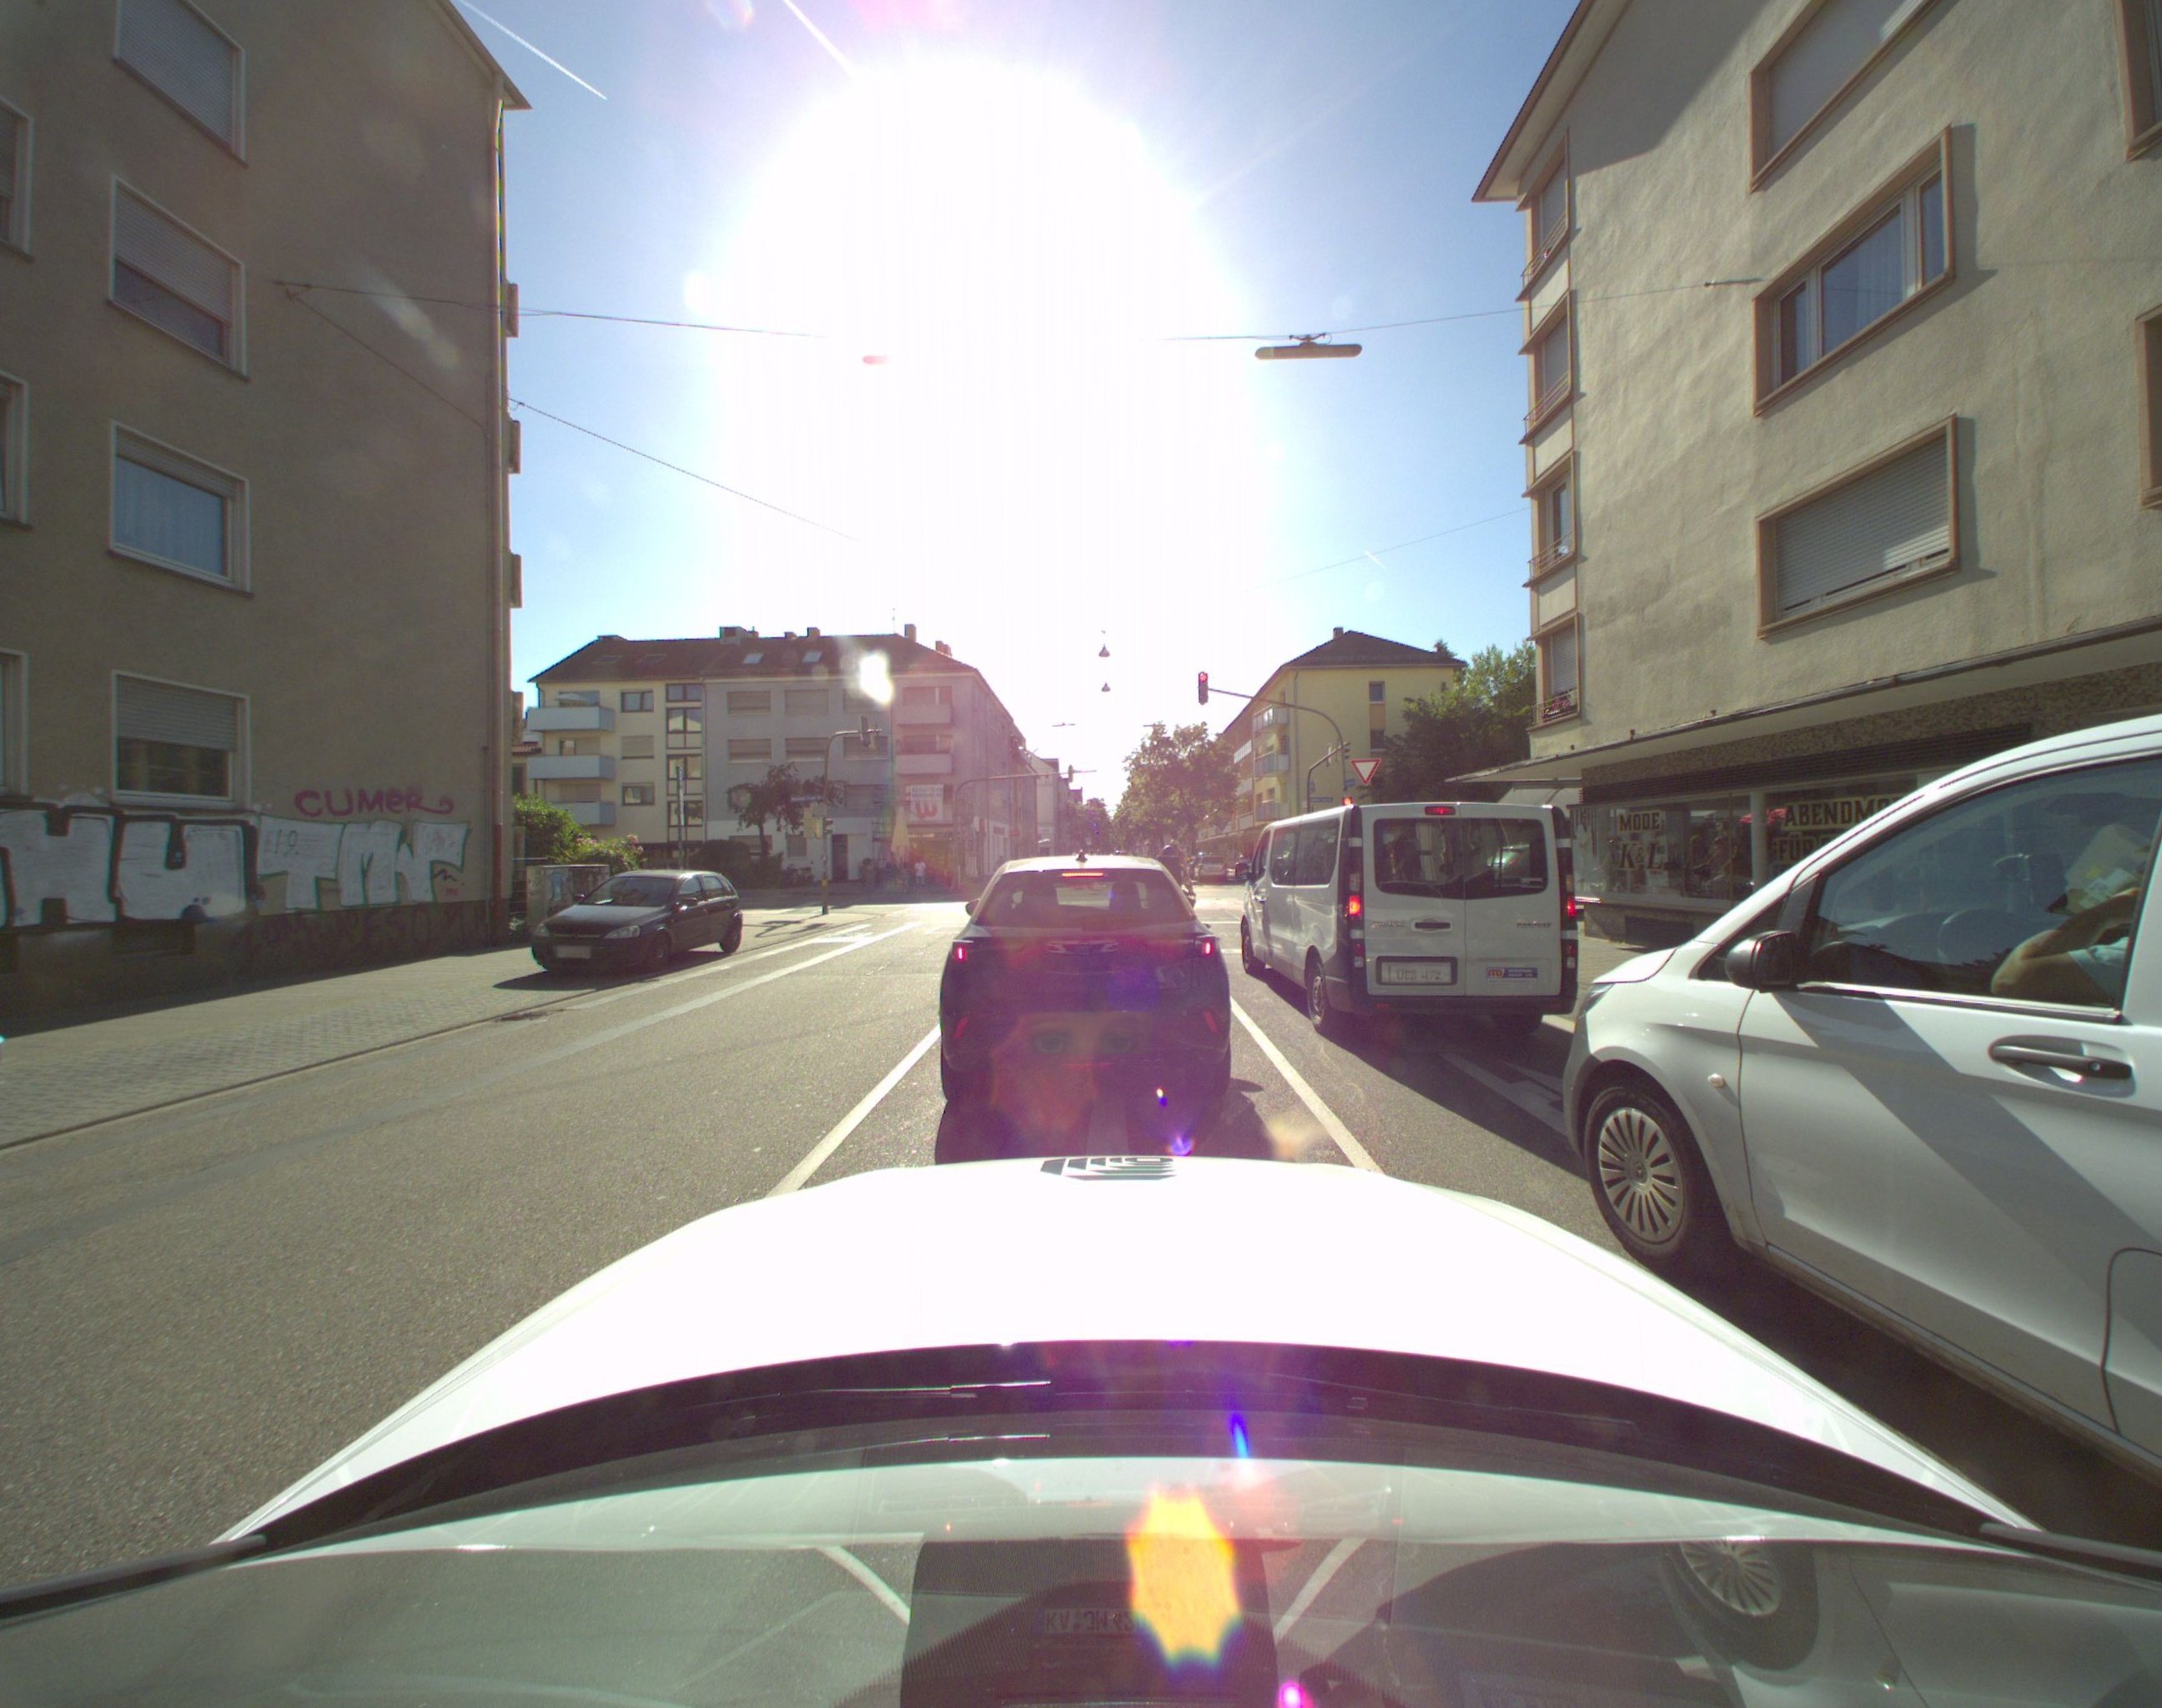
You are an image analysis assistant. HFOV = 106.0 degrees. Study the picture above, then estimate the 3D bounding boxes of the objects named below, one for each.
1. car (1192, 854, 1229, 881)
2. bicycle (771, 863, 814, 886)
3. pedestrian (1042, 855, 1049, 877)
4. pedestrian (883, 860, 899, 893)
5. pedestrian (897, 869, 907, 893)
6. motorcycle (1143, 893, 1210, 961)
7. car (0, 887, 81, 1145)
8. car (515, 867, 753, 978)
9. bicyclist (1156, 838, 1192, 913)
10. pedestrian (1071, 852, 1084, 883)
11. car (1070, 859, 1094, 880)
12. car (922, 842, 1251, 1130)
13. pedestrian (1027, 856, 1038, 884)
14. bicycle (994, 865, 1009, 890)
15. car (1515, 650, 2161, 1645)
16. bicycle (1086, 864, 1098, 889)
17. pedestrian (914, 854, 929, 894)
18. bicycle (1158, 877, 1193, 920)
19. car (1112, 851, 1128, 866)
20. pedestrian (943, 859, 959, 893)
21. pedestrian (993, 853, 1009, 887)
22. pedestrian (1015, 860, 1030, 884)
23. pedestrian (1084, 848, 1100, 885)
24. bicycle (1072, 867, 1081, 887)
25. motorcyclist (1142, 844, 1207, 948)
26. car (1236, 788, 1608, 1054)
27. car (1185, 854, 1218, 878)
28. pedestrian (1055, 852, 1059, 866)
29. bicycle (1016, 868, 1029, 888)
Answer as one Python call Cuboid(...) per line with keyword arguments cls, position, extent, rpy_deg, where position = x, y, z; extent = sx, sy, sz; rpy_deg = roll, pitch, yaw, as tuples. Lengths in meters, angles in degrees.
Cuboid(cls="car", position=(7.446, 0.757, 47.219), extent=(1.628, 1.433, 3.958), rpy_deg=(-1, 0, 2))
Cuboid(cls="bicycle", position=(-15.325, 1.083, 43.245), extent=(2.103, 1.172, 0.735), rpy_deg=(-1, 0, -22))
Cuboid(cls="pedestrian", position=(-2.801, 0.906, 63.671), extent=(0.486, 1.690, 0.588), rpy_deg=(-1, 0, 1))
Cuboid(cls="pedestrian", position=(-8.792, 1.027, 37.729), extent=(0.582, 1.521, 0.649), rpy_deg=(-1, 0, -1))
Cuboid(cls="pedestrian", position=(-8.305, 1.260, 37.781), extent=(0.354, 1.092, 0.461), rpy_deg=(-1, 0, -1))
Cuboid(cls="motorcycle", position=(1.399, 1.067, 12.279), extent=(0.822, 0.845, 1.885), rpy_deg=(-1, 0, 1))
Cuboid(cls="car", position=(-7.127, 0.927, 2.637), extent=(1.711, 1.465, 4.817), rpy_deg=(1, 0, 2))
Cuboid(cls="car", position=(-6.774, 0.957, 12.840), extent=(1.610, 1.425, 3.711), rpy_deg=(0, 0, 1))
Cuboid(cls="bicyclist", position=(2.213, 0.496, 19.539), extent=(0.687, 1.712, 1.414), rpy_deg=(-1, 0, 0))
Cuboid(cls="pedestrian", position=(-0.186, 0.712, 42.554), extent=(0.678, 1.606, 0.762), rpy_deg=(-1, 0, 0))
Cuboid(cls="car", position=(0.083, 1.341, 71.426), extent=(1.817, 1.728, 4.004), rpy_deg=(-1, 0, 3))
Cuboid(cls="car", position=(0.036, 0.716, 6.429), extent=(1.765, 1.530, 3.999), rpy_deg=(-1, 0, 0))
Cuboid(cls="pedestrian", position=(-2.927, 0.957, 49.268), extent=(0.568, 1.690, 0.588), rpy_deg=(-1, 0, 1))
Cuboid(cls="bicycle", position=(-3.964, 1.165, 40.592), extent=(0.520, 1.147, 2.283), rpy_deg=(-1, 0, 0))
Cuboid(cls="car", position=(2.937, 0.539, 1.235), extent=(1.831, 1.869, 4.994), rpy_deg=(-1, 0, -1))
Cuboid(cls="bicycle", position=(0.514, 1.044, 38.823), extent=(0.520, 1.147, 2.170), rpy_deg=(-1, 0, 0))
Cuboid(cls="pedestrian", position=(-7.204, 0.882, 36.817), extent=(0.560, 1.775, 0.582), rpy_deg=(-1, 0, -7))
Cuboid(cls="bicycle", position=(2.246, 1.047, 19.553), extent=(0.575, 0.904, 2.301), rpy_deg=(-1, 0, 0))
Cuboid(cls="car", position=(4.713, 0.522, 97.880), extent=(1.894, 1.728, 4.076), rpy_deg=(-1, 0, 3))
Cuboid(cls="pedestrian", position=(-5.943, 1.000, 37.225), extent=(0.615, 1.521, 0.724), rpy_deg=(-1, 0, -1))
Cuboid(cls="pedestrian", position=(-3.967, 0.773, 40.365), extent=(0.704, 1.678, 0.802), rpy_deg=(-1, 0, 0))
Cuboid(cls="pedestrian", position=(-3.089, 0.944, 43.330), extent=(0.704, 1.253, 0.802), rpy_deg=(-1, 0, 0))
Cuboid(cls="pedestrian", position=(0.520, 0.597, 38.669), extent=(0.704, 1.701, 0.802), rpy_deg=(-1, 0, 0))
Cuboid(cls="bicycle", position=(-0.206, 1.211, 42.795), extent=(0.442, 0.992, 2.068), rpy_deg=(-1, 0, 0))
Cuboid(cls="motorcyclist", position=(1.404, 0.610, 12.450), extent=(0.861, 1.502, 1.160), rpy_deg=(-1, 0, 1))
Cuboid(cls="car", position=(2.999, 0.497, 8.511), extent=(1.986, 1.979, 4.897), rpy_deg=(0, 0, 2))
Cuboid(cls="car", position=(7.642, 0.746, 51.899), extent=(1.628, 1.433, 4.002), rpy_deg=(-1, 0, 2))
Cuboid(cls="pedestrian", position=(-2.900, 0.633, 98.559), extent=(0.400, 1.675, 0.418), rpy_deg=(-1, 0, 1))
Cuboid(cls="bicycle", position=(-3.090, 1.257, 43.162), extent=(0.520, 0.992, 2.339), rpy_deg=(-1, 0, 0))
